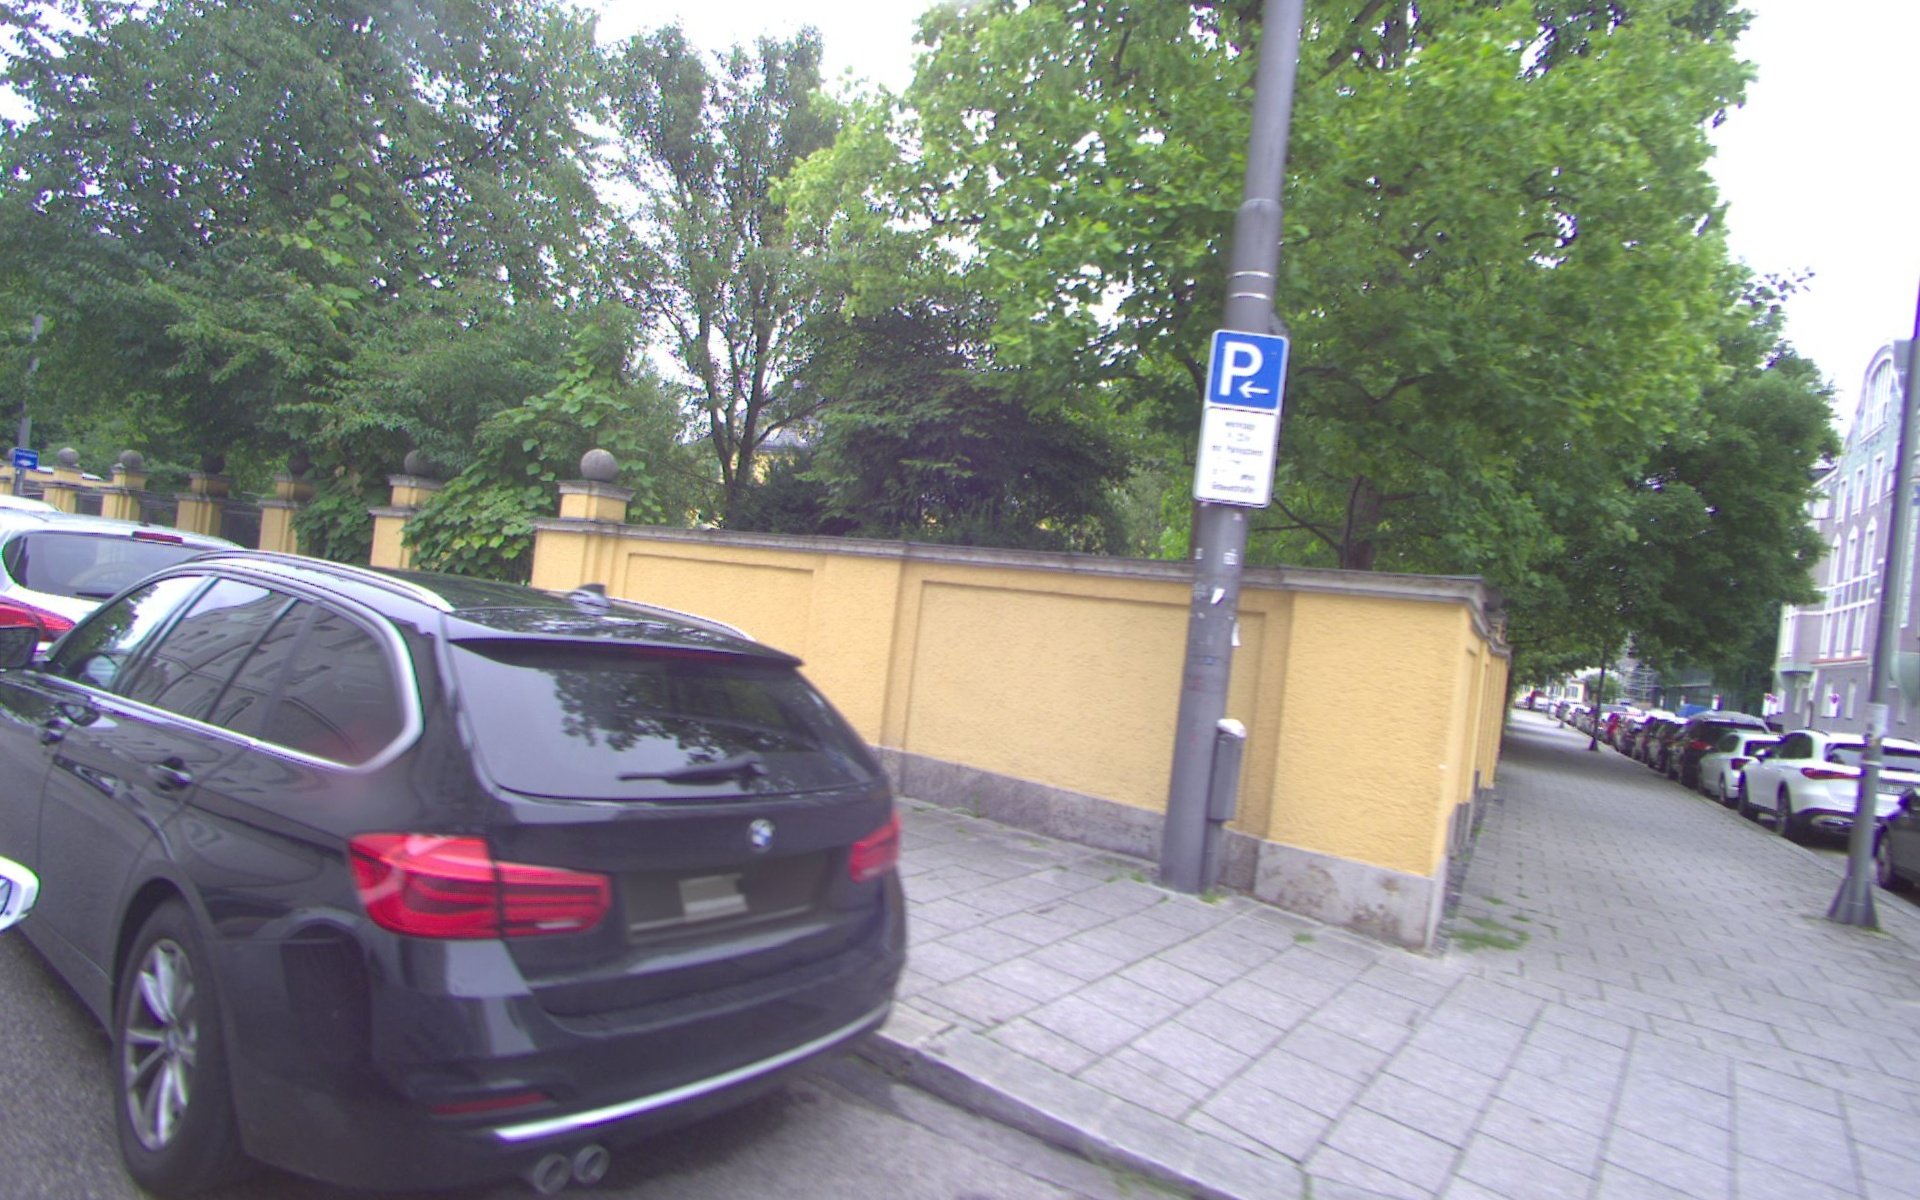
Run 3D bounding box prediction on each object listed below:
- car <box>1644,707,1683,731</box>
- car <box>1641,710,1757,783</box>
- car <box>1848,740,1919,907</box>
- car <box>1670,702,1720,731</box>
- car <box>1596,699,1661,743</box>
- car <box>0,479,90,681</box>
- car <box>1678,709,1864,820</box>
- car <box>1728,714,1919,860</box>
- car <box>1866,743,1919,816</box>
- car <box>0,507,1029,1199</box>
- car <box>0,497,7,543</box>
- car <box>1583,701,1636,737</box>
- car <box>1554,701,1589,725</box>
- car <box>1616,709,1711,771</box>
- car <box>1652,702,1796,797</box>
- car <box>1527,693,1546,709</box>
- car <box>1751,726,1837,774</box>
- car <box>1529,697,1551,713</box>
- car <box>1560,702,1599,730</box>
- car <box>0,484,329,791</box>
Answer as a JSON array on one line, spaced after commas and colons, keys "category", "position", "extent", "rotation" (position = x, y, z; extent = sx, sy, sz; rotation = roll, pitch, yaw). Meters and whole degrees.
[{"category": "car", "position": [58.007, 9.811, 83.045], "extent": [1.966, 1.640, 4.604], "rotation": [6, -2, 29]}, {"category": "car", "position": [21.371, 4.181, 29.299], "extent": [1.966, 1.640, 4.604], "rotation": [6, -2, 29]}, {"category": "car", "position": [10.294, 2.284, 9.591], "extent": [1.891, 1.499, 4.600], "rotation": [6, -2, 32]}, {"category": "car", "position": [49.227, 7.777, 67.454], "extent": [1.966, 1.640, 4.604], "rotation": [6, -2, 29]}, {"category": "car", "position": [30.824, 5.542, 46.508], "extent": [1.966, 1.640, 4.604], "rotation": [6, -2, 29]}, {"category": "car", "position": [-9.742, -0.349, 9.373], "extent": [3.617, 1.680, 1.515], "rotation": [6, -3, 36]}, {"category": "car", "position": [16.048, 3.160, 20.185], "extent": [1.966, 1.640, 4.604], "rotation": [6, -2, 29]}, {"category": "car", "position": [13.292, 2.707, 15.163], "extent": [1.966, 1.640, 4.603], "rotation": [6, -2, 30]}, {"category": "car", "position": [26.499, 4.990, 27.263], "extent": [1.931, 1.669, 4.243], "rotation": [8, 0, 31]}, {"category": "car", "position": [-2.102, 0.567, 3.601], "extent": [4.278, 1.429, 1.839], "rotation": [5, -3, 38]}, {"category": "car", "position": [-13.757, -0.720, 12.516], "extent": [3.885, 1.568, 1.841], "rotation": [6, -3, 34]}, {"category": "car", "position": [35.920, 6.557, 55.726], "extent": [1.966, 1.640, 4.604], "rotation": [6, -2, 29]}, {"category": "car", "position": [48.616, 8.968, 80.035], "extent": [1.966, 1.640, 4.604], "rotation": [6, -2, 29]}, {"category": "car", "position": [23.554, 4.642, 33.852], "extent": [1.966, 1.640, 4.604], "rotation": [6, -2, 29]}, {"category": "car", "position": [18.365, 3.513, 24.401], "extent": [1.976, 1.798, 4.379], "rotation": [6, -2, 29]}, {"category": "car", "position": [77.392, 13.513, 135.037], "extent": [1.879, 1.890, 4.604], "rotation": [6, -2, 29]}, {"category": "car", "position": [37.403, 6.685, 45.255], "extent": [1.966, 1.640, 4.604], "rotation": [6, -2, 29]}, {"category": "car", "position": [68.557, 12.390, 118.900], "extent": [1.966, 1.640, 4.604], "rotation": [6, -2, 29]}, {"category": "car", "position": [43.752, 8.160, 71.107], "extent": [1.966, 1.640, 4.604], "rotation": [6, -2, 29]}, {"category": "car", "position": [-6.012, 0.114, 6.619], "extent": [3.735, 1.536, 1.655], "rotation": [6, -3, 34]}]
